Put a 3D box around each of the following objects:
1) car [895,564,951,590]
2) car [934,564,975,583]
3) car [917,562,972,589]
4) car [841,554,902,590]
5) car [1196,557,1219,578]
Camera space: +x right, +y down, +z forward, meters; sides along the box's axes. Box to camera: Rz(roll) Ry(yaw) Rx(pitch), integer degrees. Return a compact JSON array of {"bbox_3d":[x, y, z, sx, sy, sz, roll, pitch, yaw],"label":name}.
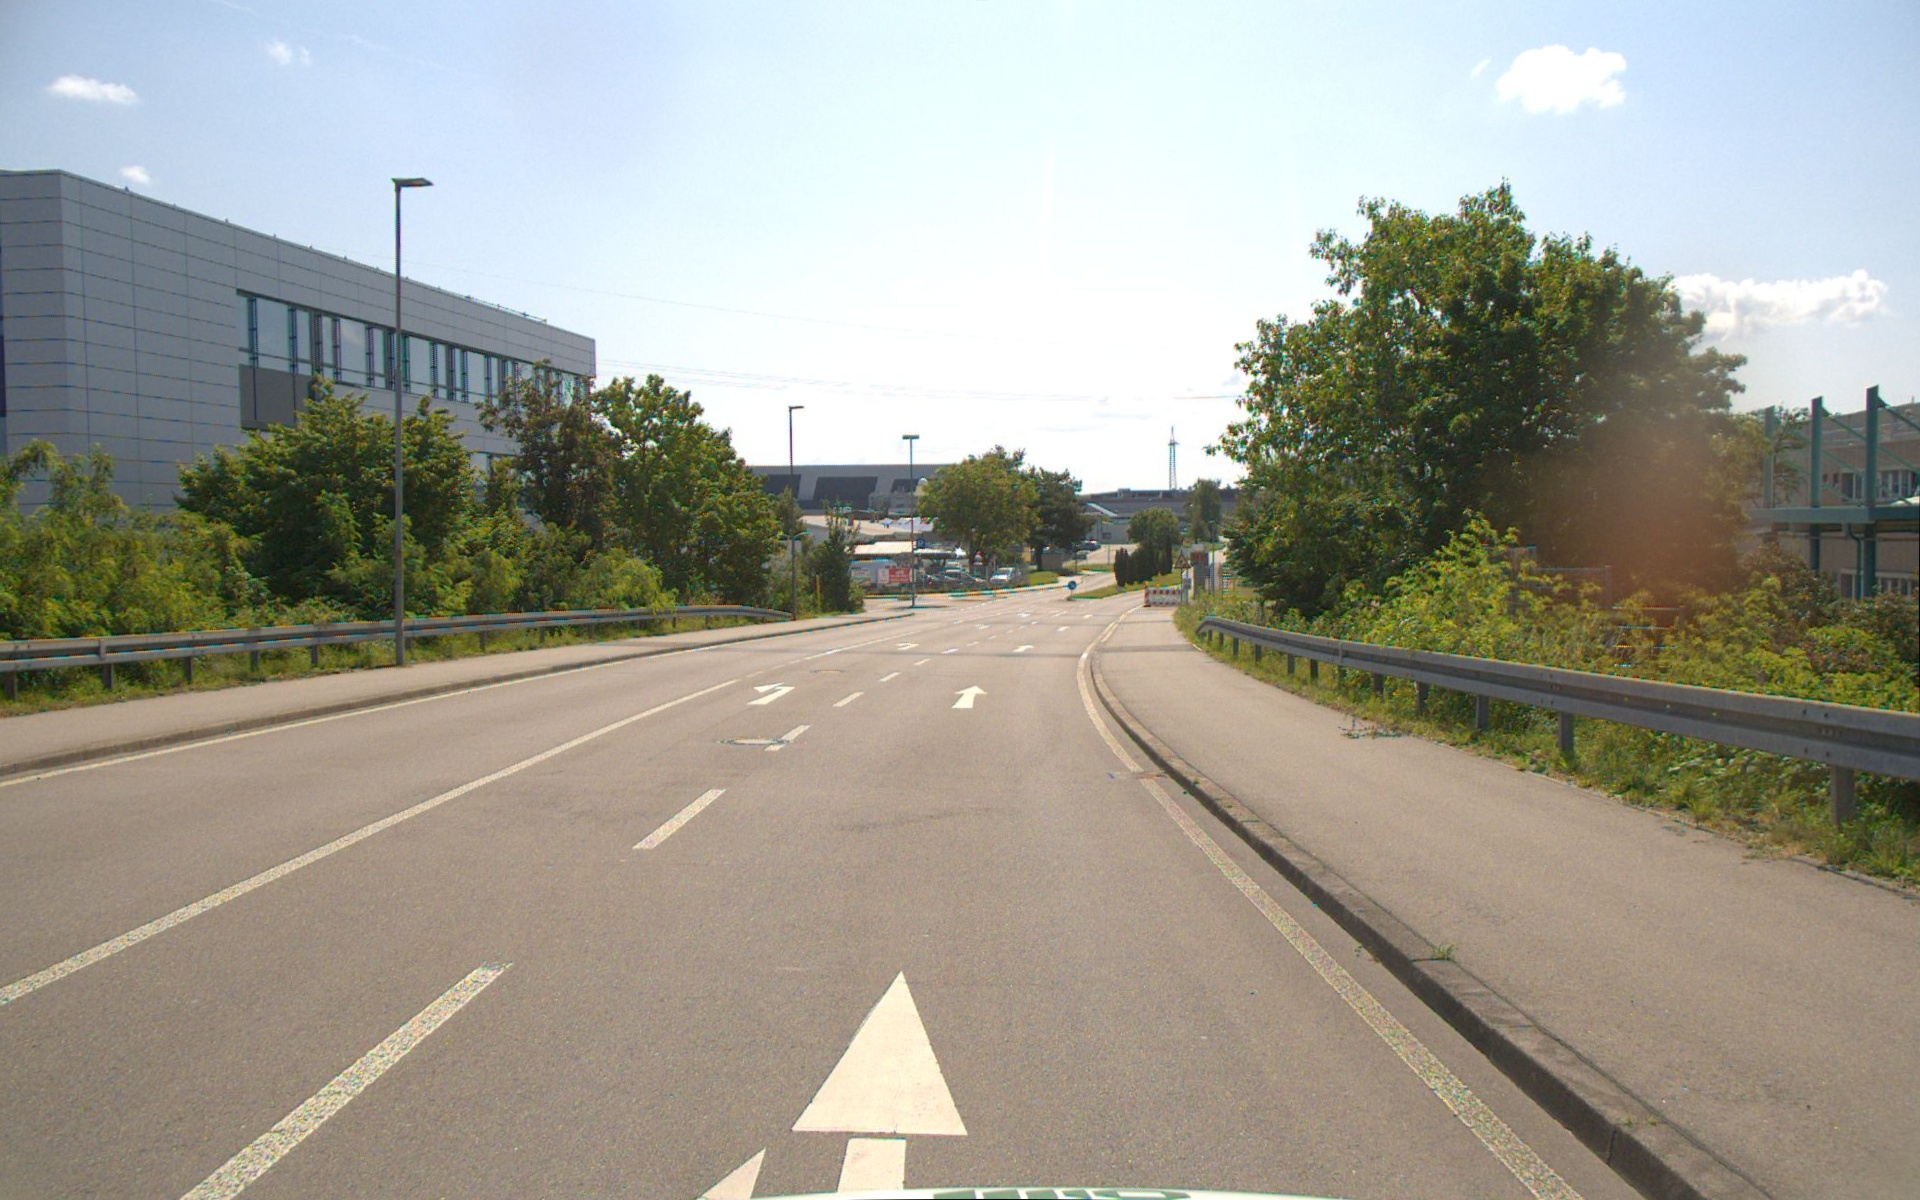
[{"bbox_3d":[-2.866,-1.779,127.317,3.917,1.811,1.995,2,4,34],"label":"car"},{"bbox_3d":[-0.571,-2.592,161.994,3.908,1.882,1.834,0,2,-4],"label":"car"},{"bbox_3d":[-1.233,-1.963,129.894,3.919,1.936,1.994,2,4,35],"label":"car"},{"bbox_3d":[-6.650,-2.113,124.064,4.278,2.654,1.993,1,1,36],"label":"car"},{"bbox_3d":[25.445,-3.336,170.029,2.223,1.980,4.670,3,2,9],"label":"car"}]
